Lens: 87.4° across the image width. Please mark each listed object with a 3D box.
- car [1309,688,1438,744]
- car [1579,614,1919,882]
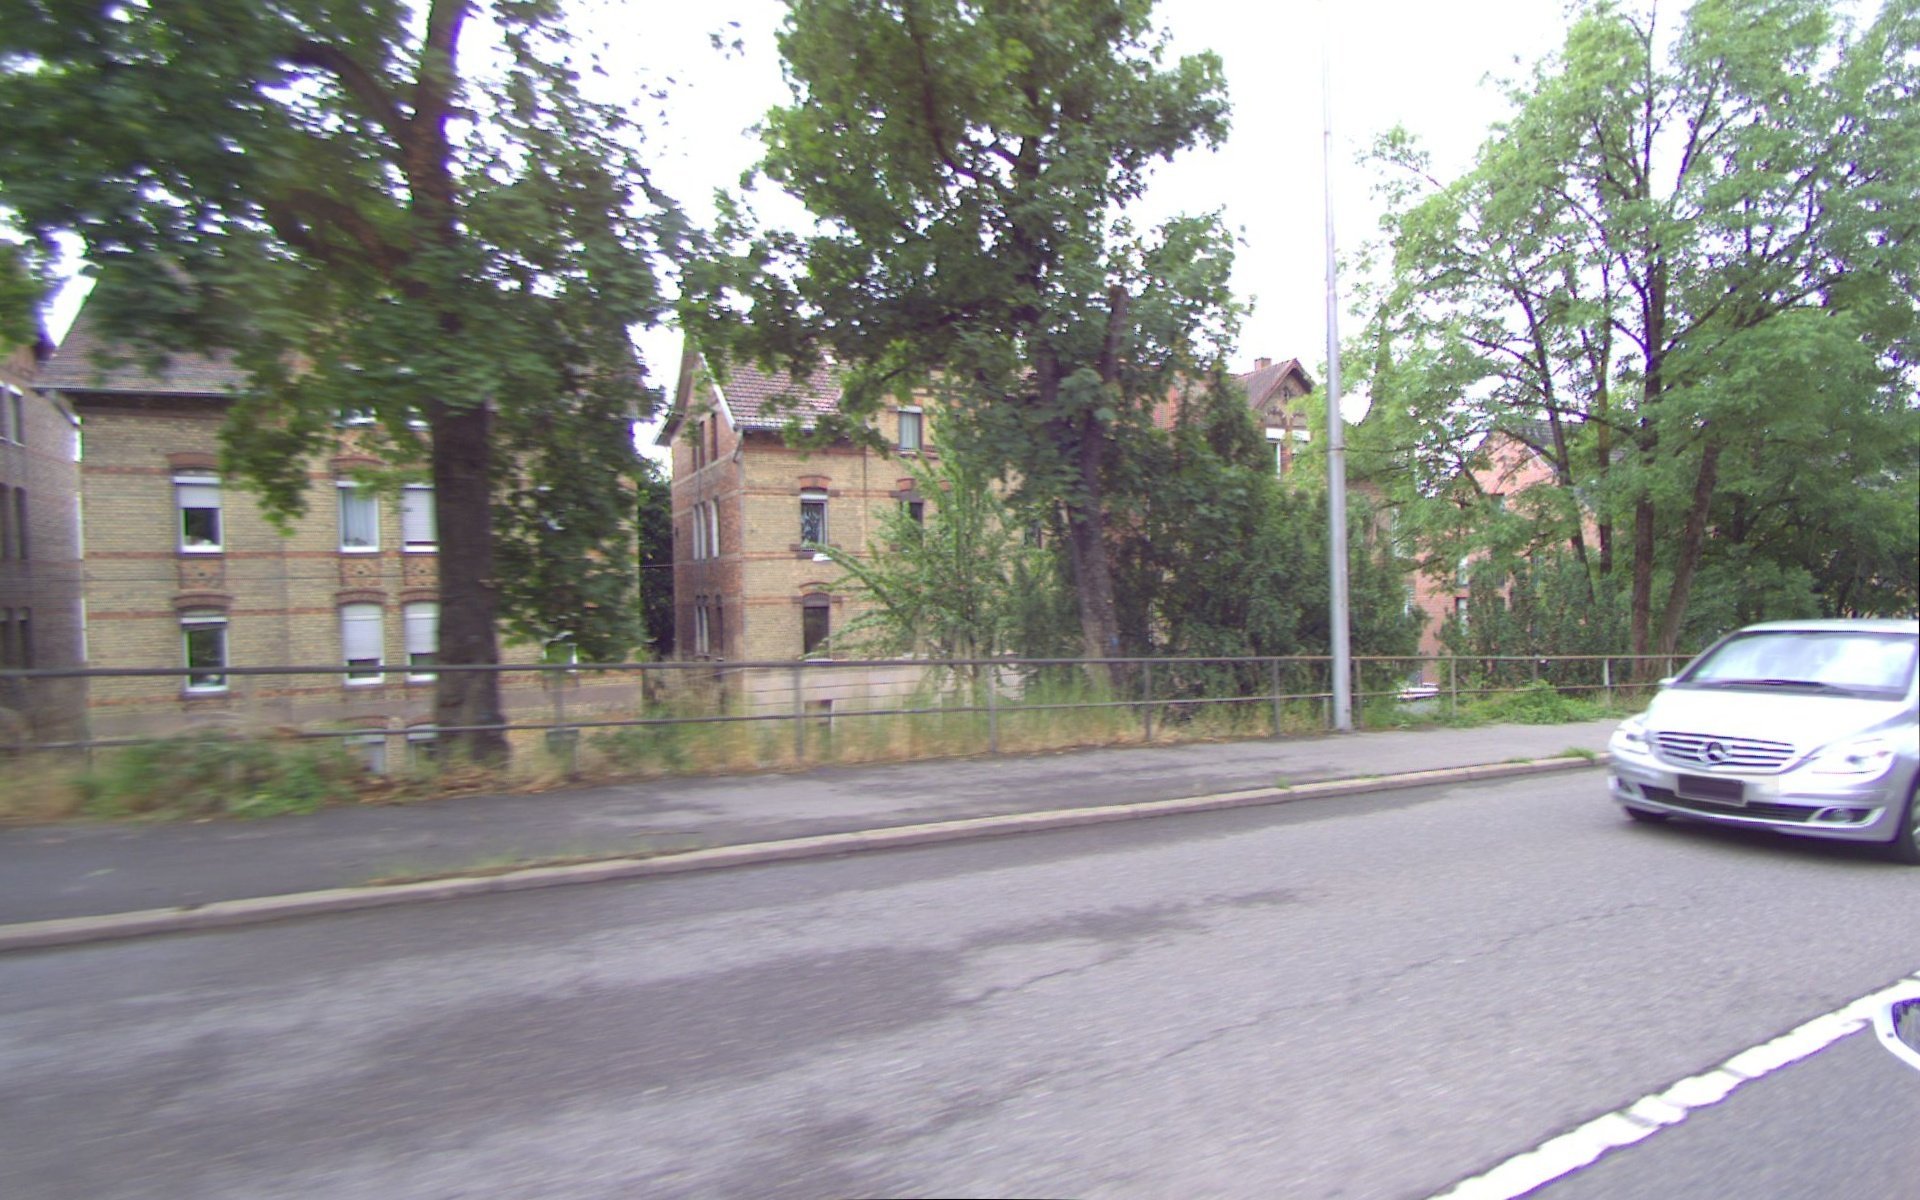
[{"bbox_3d":[13.782,3.816,33.474,3.944,1.530,1.790,1,-1,-24],"label":"car"},{"bbox_3d":[6.903,0.949,7.872,4.231,1.595,1.775,2,-2,-31],"label":"car"}]
